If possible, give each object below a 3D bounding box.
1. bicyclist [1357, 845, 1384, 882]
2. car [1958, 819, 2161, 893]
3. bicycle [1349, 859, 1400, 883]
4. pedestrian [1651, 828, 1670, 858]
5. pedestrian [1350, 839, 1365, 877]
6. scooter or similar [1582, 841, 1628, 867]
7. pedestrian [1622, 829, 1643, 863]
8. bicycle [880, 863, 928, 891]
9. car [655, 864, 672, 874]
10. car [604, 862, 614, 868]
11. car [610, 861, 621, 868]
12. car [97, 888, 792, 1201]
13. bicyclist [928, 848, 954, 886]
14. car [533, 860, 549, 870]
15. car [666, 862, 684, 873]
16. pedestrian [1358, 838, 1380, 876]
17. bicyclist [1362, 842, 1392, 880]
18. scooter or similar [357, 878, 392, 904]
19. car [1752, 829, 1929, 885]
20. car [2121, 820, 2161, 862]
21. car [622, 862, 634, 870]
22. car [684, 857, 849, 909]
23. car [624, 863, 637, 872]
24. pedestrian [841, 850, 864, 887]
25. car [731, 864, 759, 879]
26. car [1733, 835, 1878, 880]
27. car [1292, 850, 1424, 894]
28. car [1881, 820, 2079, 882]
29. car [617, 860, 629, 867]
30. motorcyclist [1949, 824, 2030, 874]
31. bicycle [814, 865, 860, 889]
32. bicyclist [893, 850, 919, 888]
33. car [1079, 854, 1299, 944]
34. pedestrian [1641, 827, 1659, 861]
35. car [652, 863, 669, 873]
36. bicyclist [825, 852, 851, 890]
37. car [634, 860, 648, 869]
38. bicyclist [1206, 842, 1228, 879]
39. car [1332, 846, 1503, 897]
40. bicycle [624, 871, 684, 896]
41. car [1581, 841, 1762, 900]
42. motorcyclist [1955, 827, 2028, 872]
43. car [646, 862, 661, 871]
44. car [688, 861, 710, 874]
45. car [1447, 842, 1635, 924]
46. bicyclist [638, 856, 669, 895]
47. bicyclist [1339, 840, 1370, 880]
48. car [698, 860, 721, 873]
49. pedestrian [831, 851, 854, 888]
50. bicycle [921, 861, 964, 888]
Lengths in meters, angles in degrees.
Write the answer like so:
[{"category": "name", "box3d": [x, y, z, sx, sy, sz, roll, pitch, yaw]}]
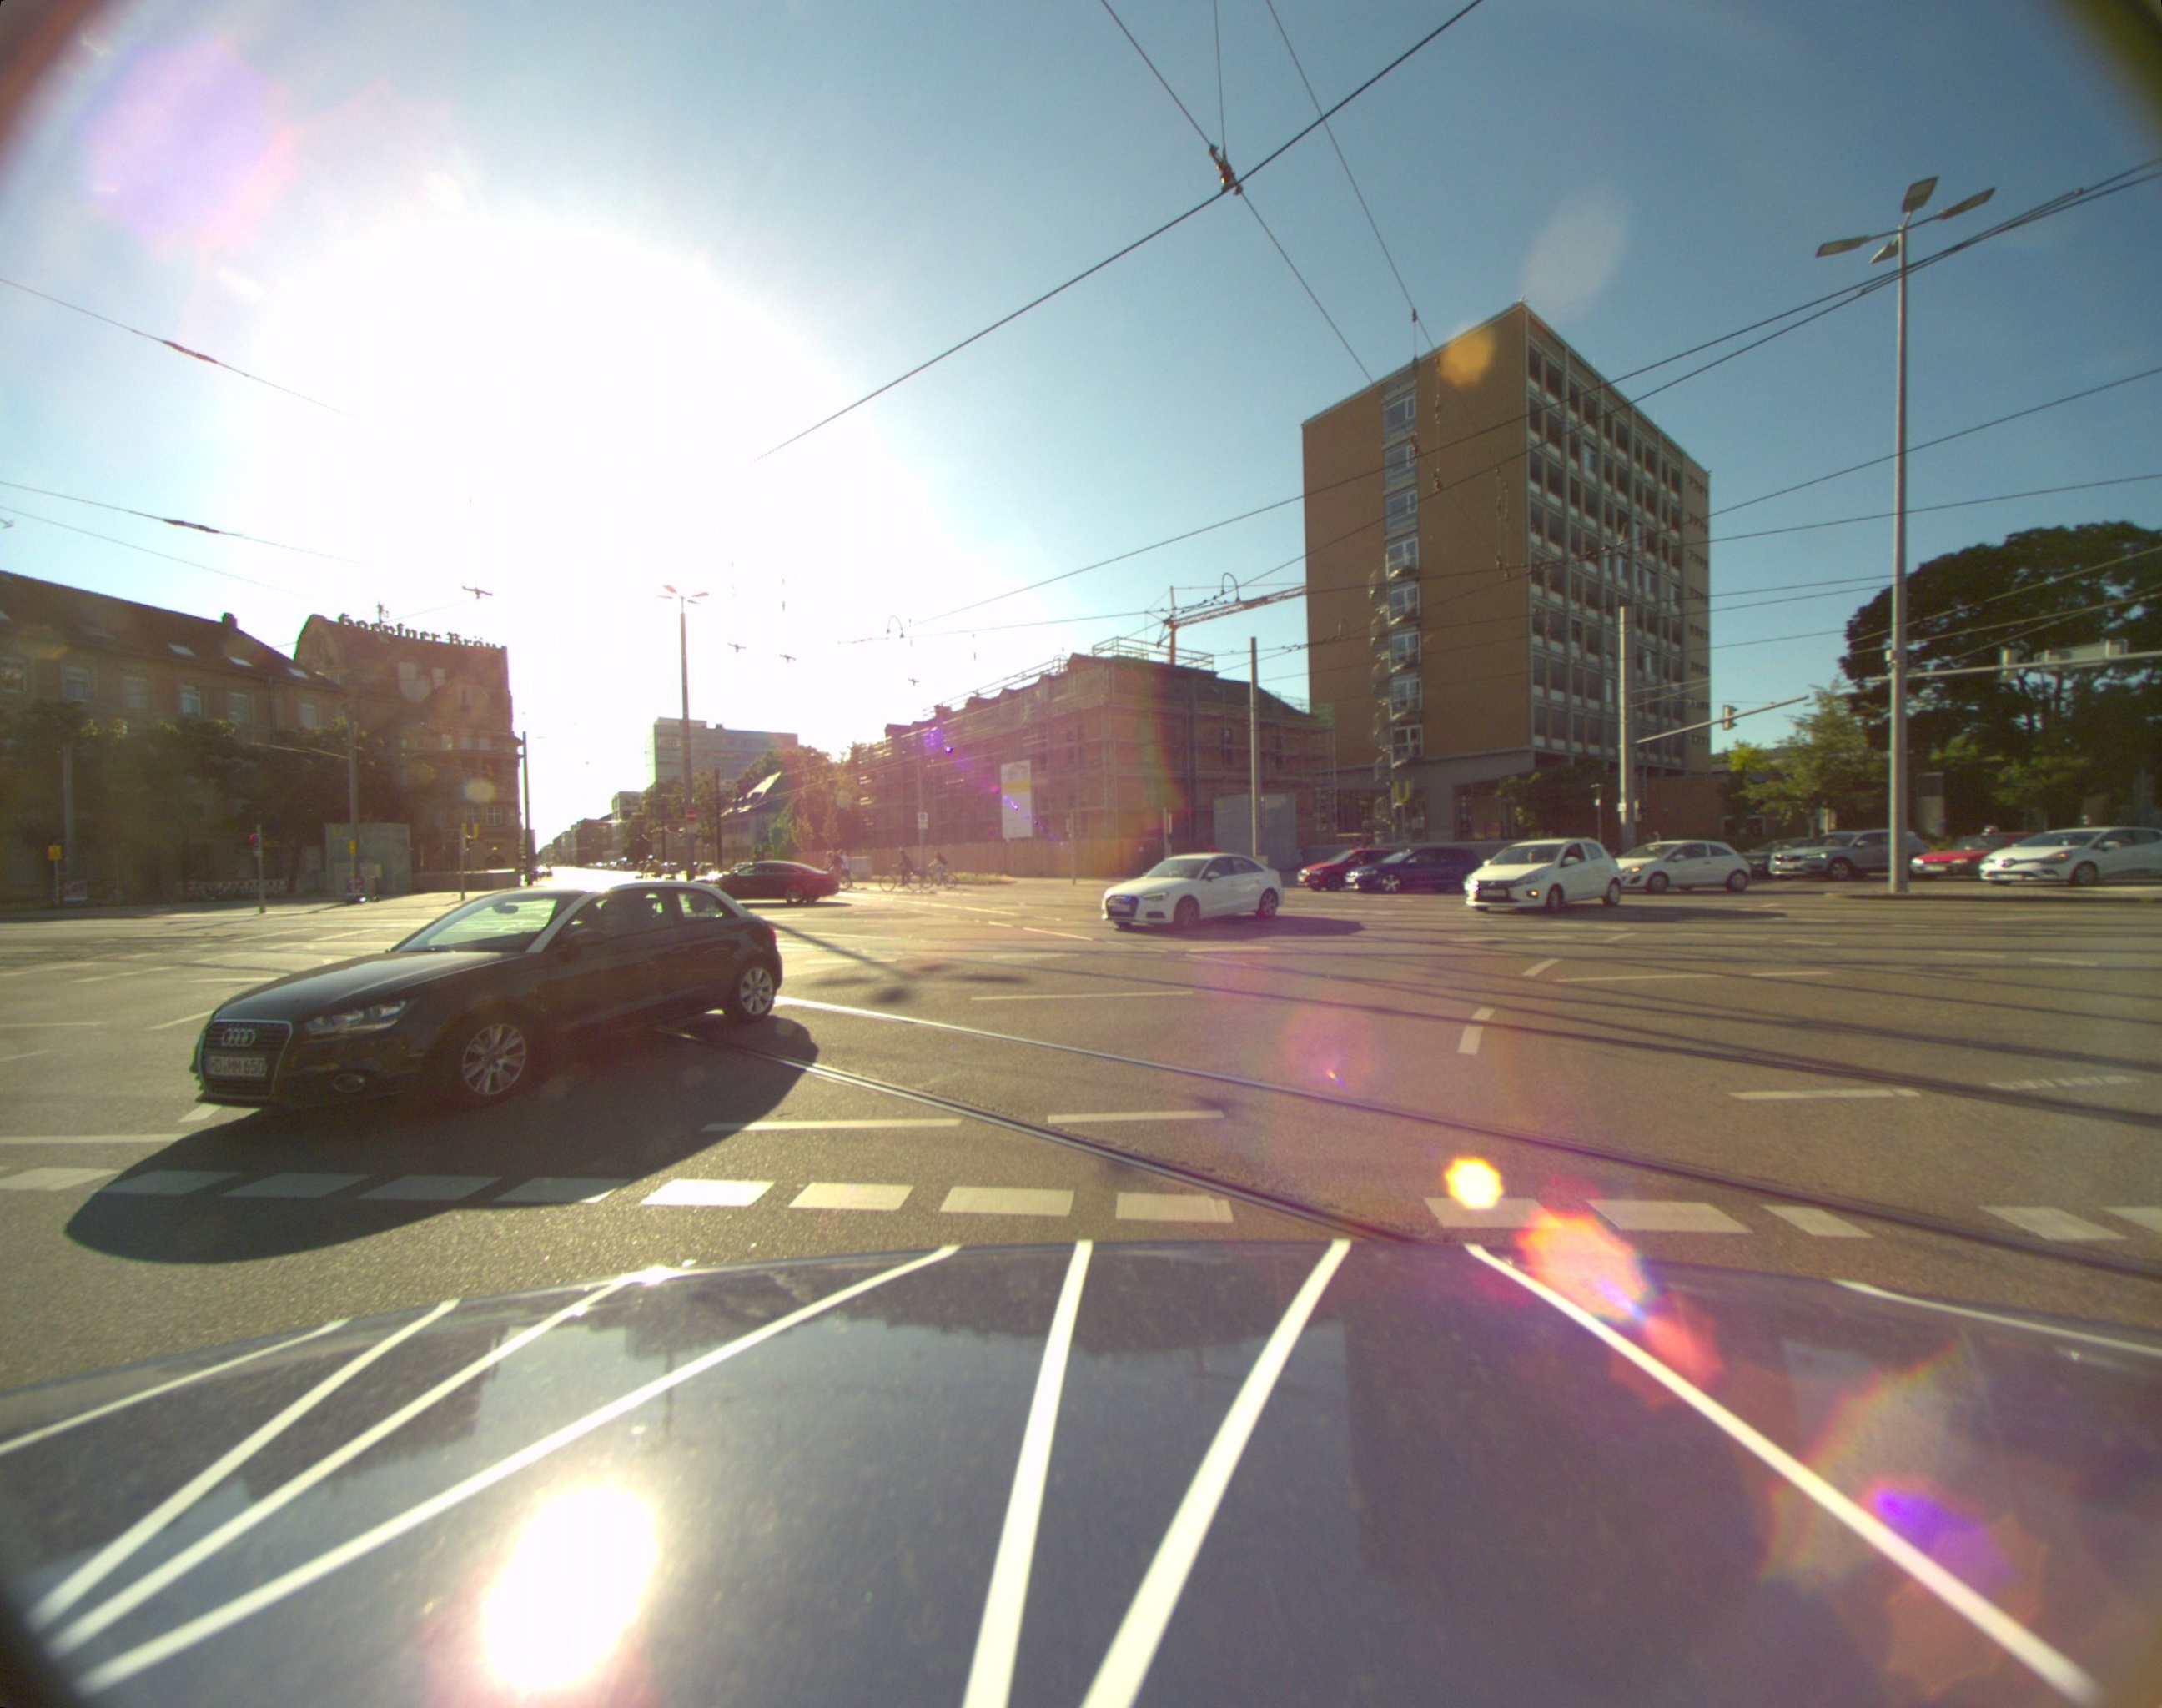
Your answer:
[{"category": "bicyclist", "box3d": [12.789, 0.412, 33.593, 1.015, 1.579, 0.694, 0, 4, 14]}, {"category": "car", "box3d": [25.238, 0.014, 19.208, 4.282, 1.666, 1.998, -2, 1, -7]}, {"category": "bicycle", "box3d": [12.467, 0.724, 32.341, 1.878, 0.965, 0.712, 0, 4, 5]}, {"category": "pedestrian", "box3d": [32.384, -0.623, 42.476, 0.504, 1.625, 0.573, -1, -2, -16]}, {"category": "pedestrian", "box3d": [12.855, 0.163, 35.372, 0.621, 1.730, 0.666, 0, 2, 18]}, {"category": "scooter or similar", "box3d": [27.580, 0.009, 40.004, 1.825, 1.239, 0.801, -3, -2, 25]}, {"category": "pedestrian", "box3d": [27.929, -0.396, 38.480, 0.624, 1.701, 0.486, -2, -2, 11]}, {"category": "bicycle", "box3d": [-7.494, 0.961, 32.257, 1.902, 1.116, 0.648, -2, -2, -5]}, {"category": "car", "box3d": [-65.006, 2.305, 118.339, 1.759, 1.455, 4.009, -3, 0, -37]}, {"category": "car", "box3d": [-122.658, 2.815, 197.424, 1.759, 1.455, 4.009, -3, 0, -37]}, {"category": "car", "box3d": [-110.179, 2.519, 179.737, 1.759, 1.455, 4.009, -3, 0, -37]}, {"category": "car", "box3d": [-4.257, 1.079, 5.965, 1.692, 1.380, 3.836, -1, 1, 17]}, {"category": "bicyclist", "box3d": [-6.220, 0.595, 33.781, 0.974, 1.651, 0.648, -2, -2, -2]}, {"category": "car", "box3d": [-113.183, 2.249, 159.365, 3.990, 2.001, 2.004, -4, -3, 44]}, {"category": "car", "box3d": [-61.023, 2.035, 114.291, 1.759, 1.455, 4.009, -3, 0, -37]}, {"category": "pedestrian", "box3d": [13.491, 0.120, 35.634, 0.733, 1.730, 0.621, -2, 2, -13]}, {"category": "bicyclist", "box3d": [12.569, 0.294, 32.287, 1.016, 1.579, 0.694, 0, 4, 5]}, {"category": "scooter or similar", "box3d": [-33.720, 1.755, 36.267, 1.442, 1.193, 0.732, -1, 0, 27]}, {"category": "car", "box3d": [24.988, 0.108, 25.082, 3.999, 1.597, 1.999, -2, 0, -5]}, {"category": "car", "box3d": [46.188, -0.616, 31.290, 4.707, 1.673, 1.999, -1, -2, -9]}, {"category": "car", "box3d": [-97.042, 2.617, 162.781, 1.759, 1.455, 4.009, -3, 0, -37]}, {"category": "car", "box3d": [-10.338, 0.939, 25.213, 4.650, 1.484, 1.817, -2, 1, 1]}, {"category": "car", "box3d": [-93.210, 2.784, 157.207, 1.759, 1.596, 4.009, -3, 0, -37]}, {"category": "pedestrian", "box3d": [-11.605, 0.748, 38.539, 0.818, 1.837, 0.692, -2, -2, 22]}, {"category": "car", "box3d": [-34.839, 1.821, 78.664, 1.759, 1.455, 4.009, -3, 0, -37]}, {"category": "car", "box3d": [26.992, 0.113, 28.374, 4.018, 1.455, 1.755, -3, 1, -7]}, {"category": "car", "box3d": [9.724, 0.596, 26.796, 4.018, 1.455, 1.755, -1, 0, -7]}, {"category": "car", "box3d": [26.810, -0.067, 22.738, 4.000, 1.673, 1.999, -1, -2, -9]}, {"category": "car", "box3d": [-100.239, 2.097, 166.267, 1.759, 1.455, 4.009, -3, 0, -37]}, {"category": "motorcyclist", "box3d": [31.586, -0.145, 26.439, 1.453, 1.657, 1.118, -2, -2, -3]}, {"category": "bicycle", "box3d": [-11.194, 1.057, 34.914, 1.905, 1.021, 0.648, -1, 0, 0]}, {"category": "bicyclist", "box3d": [-7.425, 0.643, 32.268, 0.974, 1.559, 0.648, -2, -2, -4]}, {"category": "car", "box3d": [2.287, 0.784, 15.341, 4.465, 1.380, 1.822, -3, 2, -40]}, {"category": "pedestrian", "box3d": [27.934, -0.504, 37.270, 0.504, 1.625, 0.427, -1, -2, -16]}, {"category": "car", "box3d": [-67.833, 2.312, 122.603, 1.759, 1.455, 4.009, -3, 0, -37]}, {"category": "bicyclist", "box3d": [-11.156, 0.776, 34.905, 0.974, 1.685, 0.648, -1, 0, 0]}, {"category": "car", "box3d": [-81.189, 2.020, 140.286, 1.759, 1.455, 4.009, -3, 0, -37]}, {"category": "bicyclist", "box3d": [6.410, 0.296, 35.824, 1.015, 1.699, 0.694, 0, 4, 7]}, {"category": "car", "box3d": [10.554, 0.534, 23.974, 4.653, 1.483, 1.817, 0, -1, -7]}, {"category": "bicycle", "box3d": [-18.532, 1.256, 33.003, 2.106, 1.021, 0.767, -1, 0, -11]}, {"category": "car", "box3d": [16.537, 0.422, 21.369, 3.915, 1.455, 1.783, -2, 1, -8]}, {"category": "motorcyclist", "box3d": [35.333, -0.145, 29.514, 1.453, 1.657, 1.118, -2, -2, -3]}, {"category": "car", "box3d": [-72.597, 2.161, 129.054, 1.759, 1.455, 4.009, -3, 0, -37]}, {"category": "car", "box3d": [-49.631, 1.796, 98.657, 1.759, 1.455, 4.009, -3, 0, -37]}, {"category": "car", "box3d": [9.805, 0.541, 16.143, 3.876, 1.484, 1.718, -2, 1, -29]}, {"category": "bicyclist", "box3d": [-18.551, 0.929, 32.990, 0.975, 1.685, 0.767, -1, 0, -11]}, {"category": "bicyclist", "box3d": [11.155, 0.246, 30.977, 1.016, 1.579, 0.693, 0, 4, 2]}, {"category": "car", "box3d": [-45.998, 1.536, 94.045, 1.759, 1.455, 4.009, -3, 0, -37]}, {"category": "pedestrian", "box3d": [-11.883, 0.776, 37.879, 0.818, 1.837, 0.692, -2, -2, 22]}, {"category": "bicycle", "box3d": [-6.163, 0.907, 33.772, 1.775, 1.116, 0.648, -2, -2, -2]}]
